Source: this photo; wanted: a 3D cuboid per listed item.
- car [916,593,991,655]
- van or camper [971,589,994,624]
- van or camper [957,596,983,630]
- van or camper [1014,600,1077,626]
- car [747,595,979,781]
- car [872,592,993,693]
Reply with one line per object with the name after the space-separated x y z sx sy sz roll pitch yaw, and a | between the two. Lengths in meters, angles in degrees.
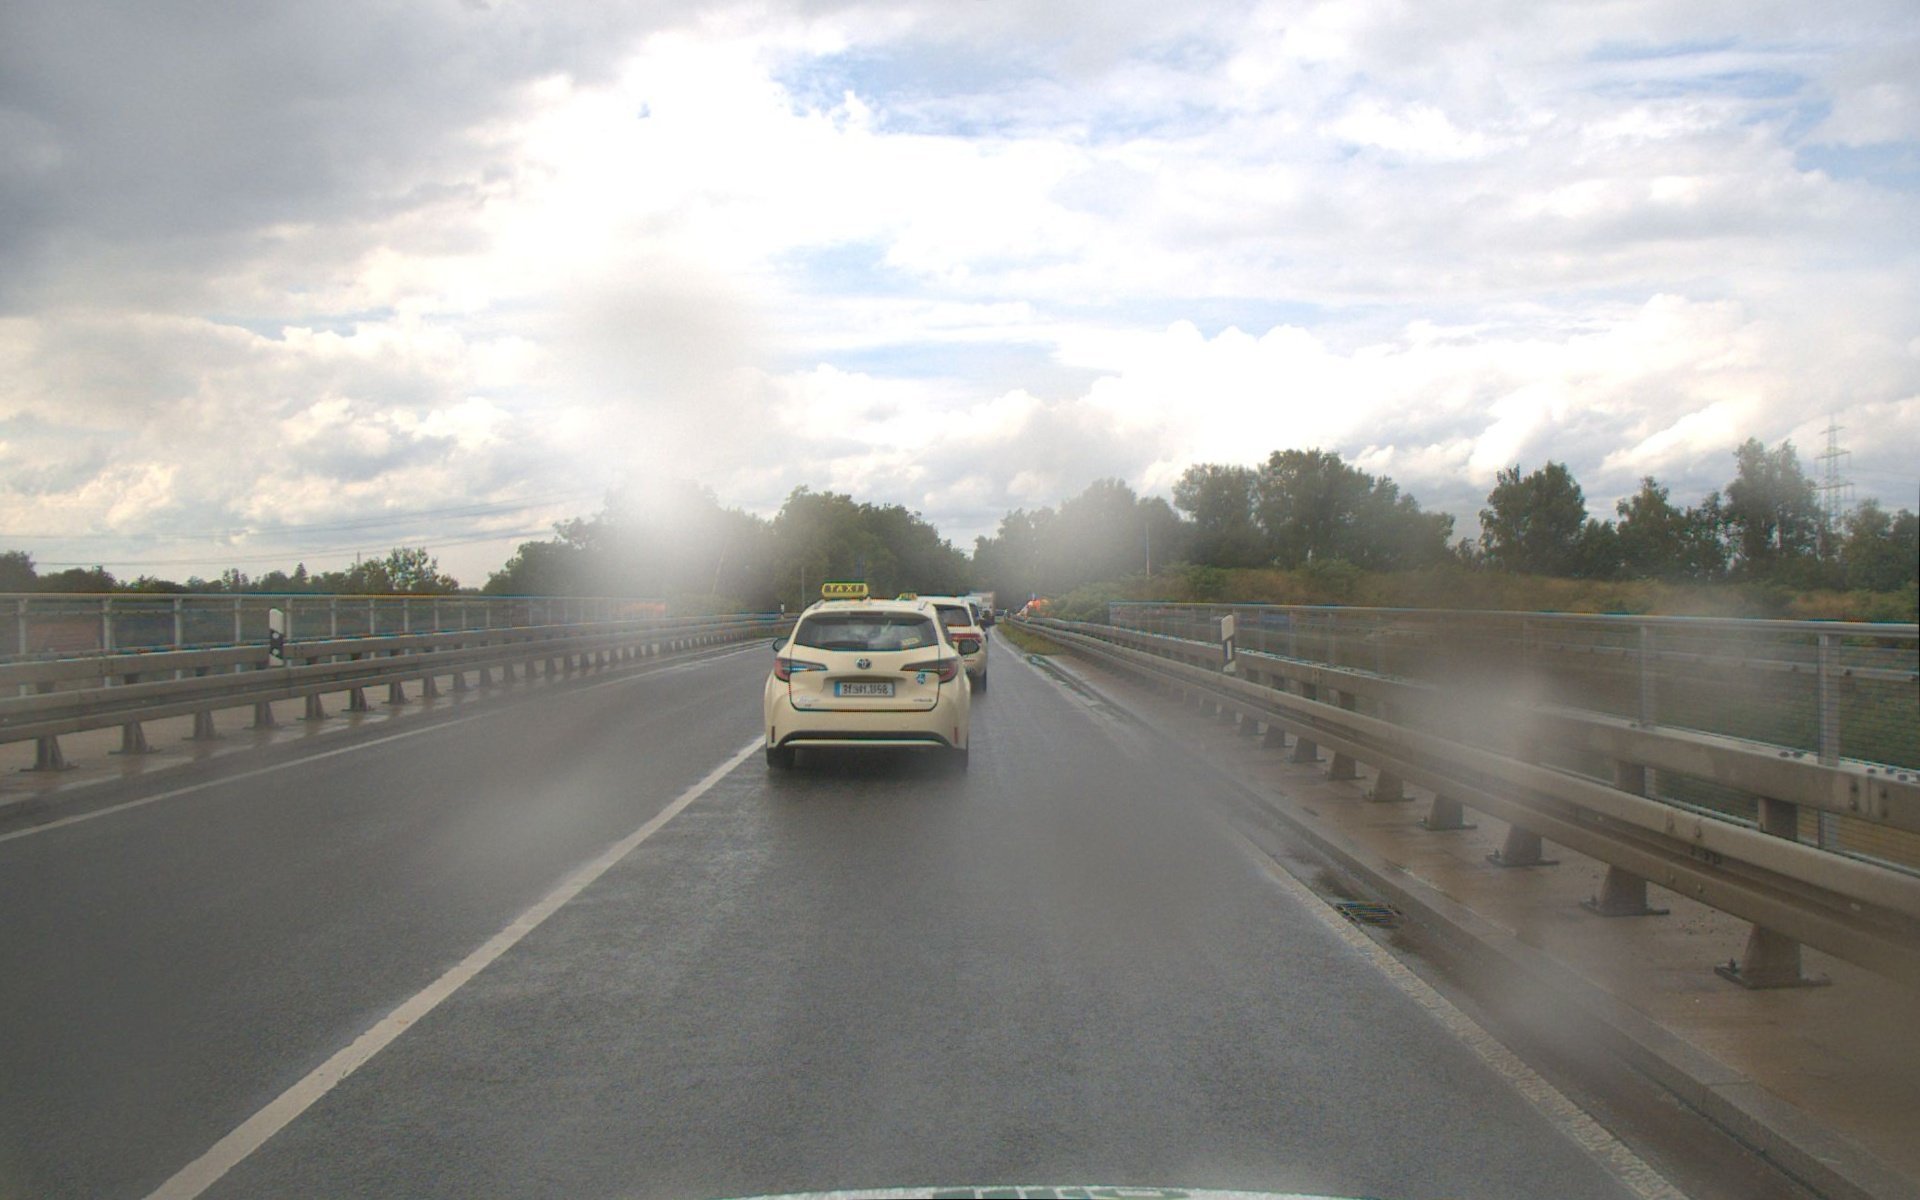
-0.177 0.577 42.661 1.816 1.468 4.170 1 1 0 | car
2.406 0.657 177.380 2.285 3.625 6.306 1 0 0 | van or camper
0.883 1.147 149.517 2.285 2.914 6.306 1 0 0 | van or camper
7.949 1.209 153.796 5.583 2.281 2.012 1 0 -15 | van or camper
-0.779 0.691 15.198 1.816 1.418 4.170 1 1 0 | car
-0.424 0.636 27.212 1.816 1.468 4.170 1 1 0 | car
